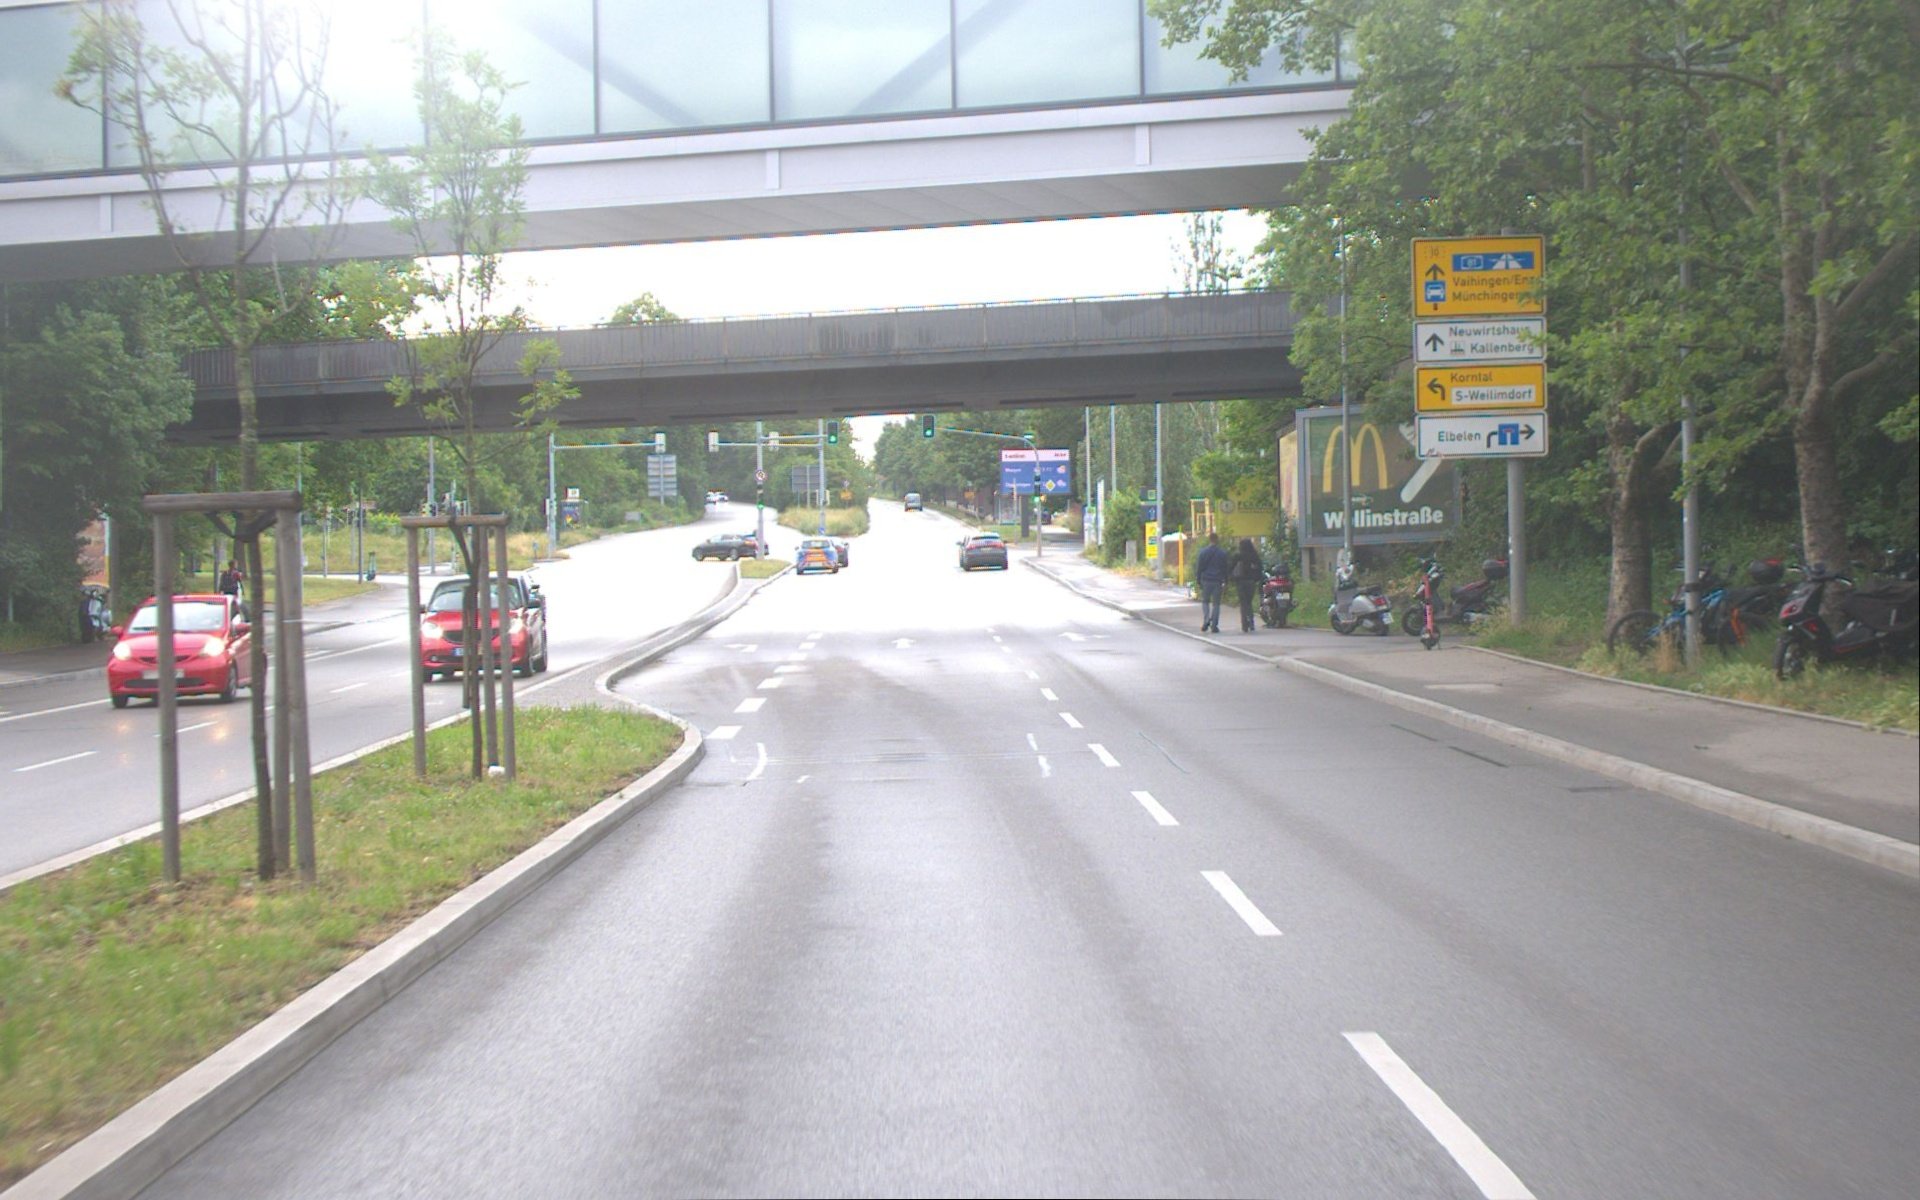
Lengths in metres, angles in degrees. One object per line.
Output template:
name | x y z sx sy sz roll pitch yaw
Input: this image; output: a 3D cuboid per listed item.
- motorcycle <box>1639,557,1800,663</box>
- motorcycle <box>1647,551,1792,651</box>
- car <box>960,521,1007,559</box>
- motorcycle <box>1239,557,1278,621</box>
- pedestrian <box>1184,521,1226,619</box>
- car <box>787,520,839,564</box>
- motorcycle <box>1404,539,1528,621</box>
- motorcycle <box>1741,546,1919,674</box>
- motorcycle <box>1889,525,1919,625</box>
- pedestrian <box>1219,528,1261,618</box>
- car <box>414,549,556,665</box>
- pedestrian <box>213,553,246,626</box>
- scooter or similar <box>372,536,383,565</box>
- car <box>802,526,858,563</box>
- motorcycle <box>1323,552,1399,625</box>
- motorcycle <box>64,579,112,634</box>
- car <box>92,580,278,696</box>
motorcycle | 9.417 0.112 42.603 1.848 1.248 0.630 -2 1 -16
motorcycle | 9.776 0.010 44.312 0.628 1.248 1.854 -2 1 -36
car | 0.946 -2.428 139.344 1.744 1.465 4.166 0 2 -1
motorcycle | 5.368 -0.204 61.807 0.469 1.133 1.819 -2 1 -1
pedestrian | 4.395 -0.542 61.640 0.611 1.715 0.891 -2 1 9
car | -6.105 -2.379 142.262 2.076 1.712 4.199 1 0 -3
motorcycle | 8.309 -0.326 56.512 1.942 1.293 0.546 -1 1 34
motorcycle | 8.578 0.091 33.495 1.848 1.187 0.522 -2 1 -16
motorcycle | 12.531 -0.342 44.841 0.348 1.275 2.068 -1 1 27
pedestrian | 5.006 -0.487 61.416 0.651 1.590 0.578 -2 1 11
car | -7.085 0.094 51.584 1.585 1.600 3.856 -3 0 -1
pedestrian | -18.322 -0.257 86.241 0.520 1.809 0.799 0 1 9
scooter or similar | -25.146 -2.138 148.389 0.311 1.214 1.308 -1 2 -15
car | -5.928 -2.519 157.053 2.166 1.577 4.664 1 0 2
motorcycle | 6.789 -0.190 58.312 0.469 1.209 1.945 -2 1 -18
motorcycle | -19.551 0.140 77.105 0.468 1.154 1.932 -2 1 2
car | -10.447 0.483 46.562 1.715 1.432 3.772 -3 0 -2
